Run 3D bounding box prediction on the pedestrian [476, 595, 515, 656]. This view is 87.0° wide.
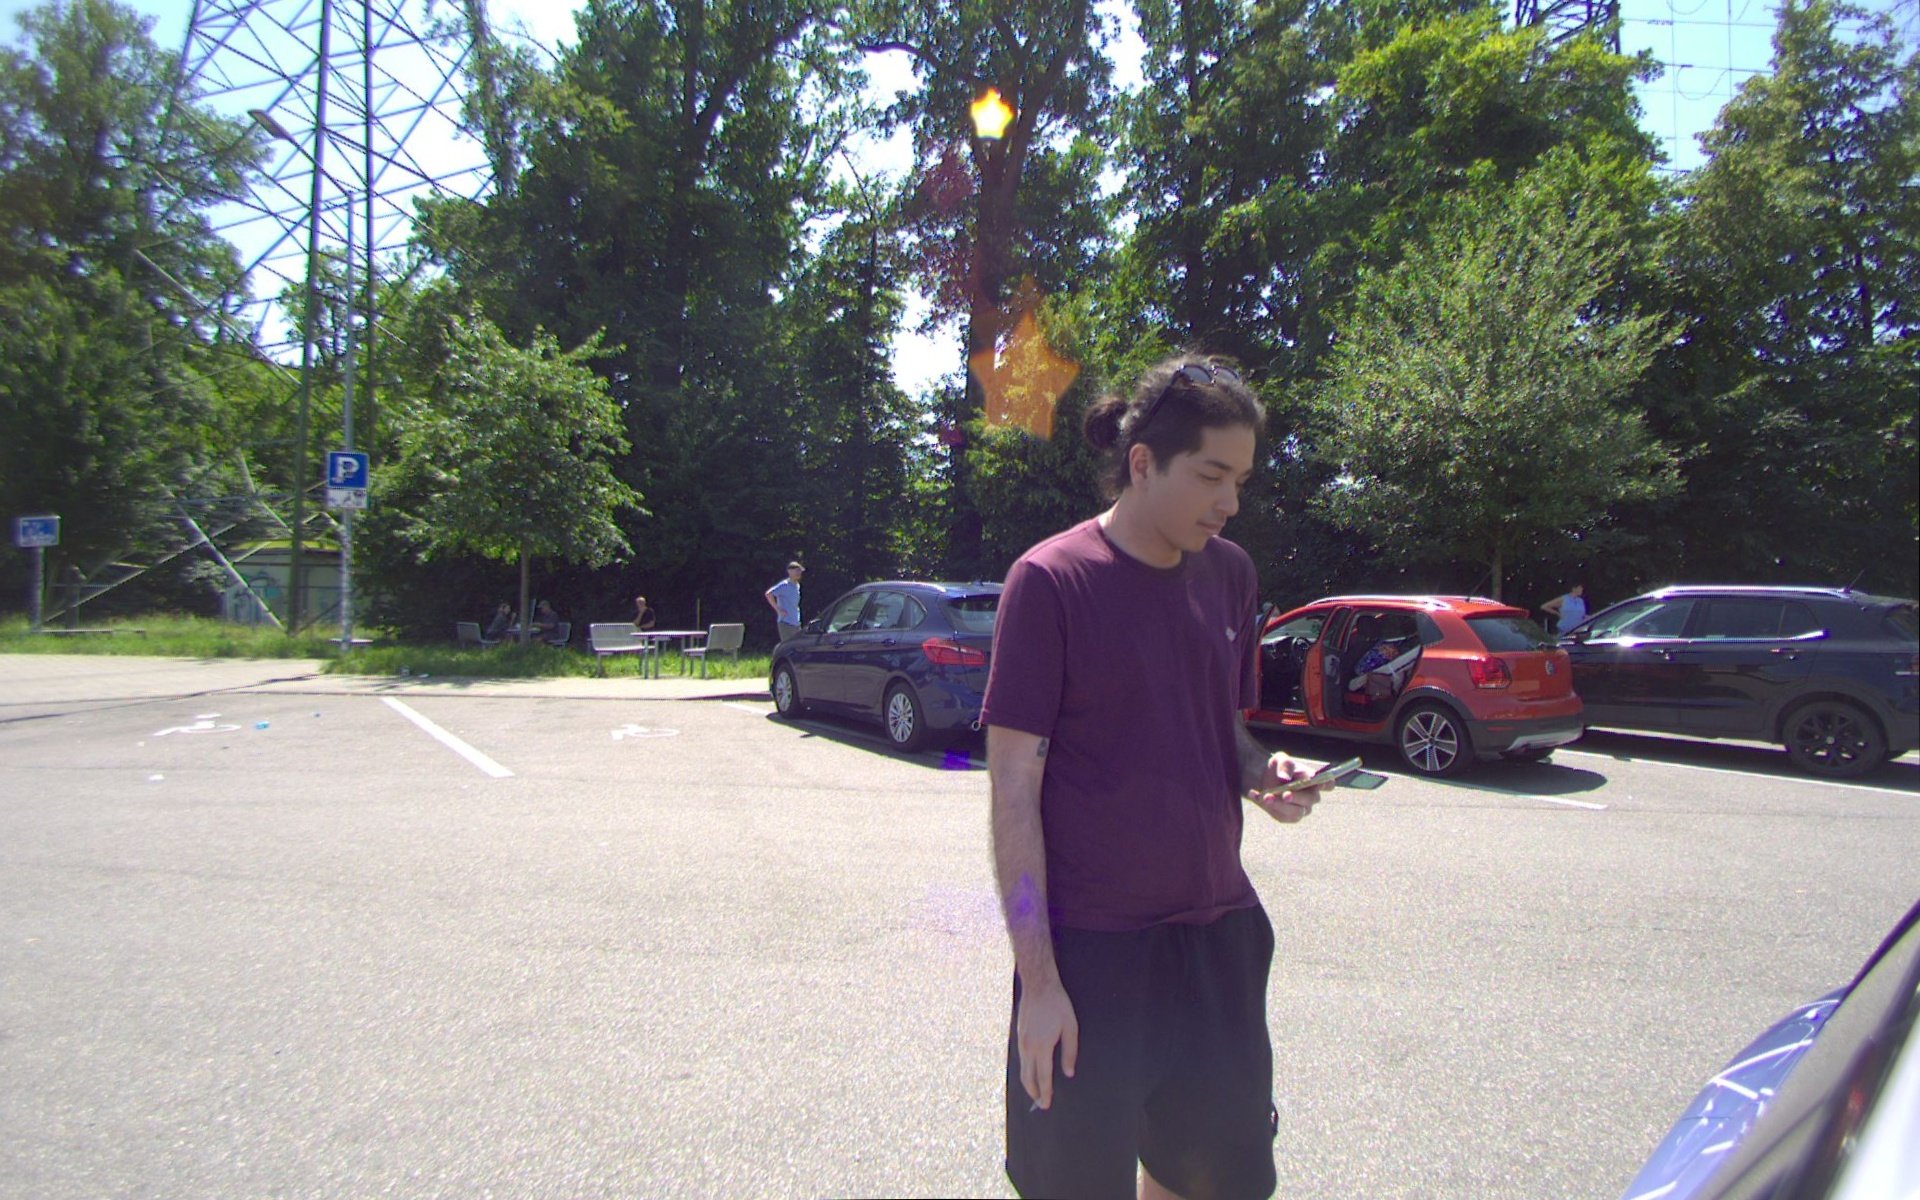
[{"bbox_3d":[-10.489,0.563,22.840,0.687,1.352,0.563,0,0,-40],"label":"pedestrian"}]

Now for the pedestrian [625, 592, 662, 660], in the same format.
[{"bbox_3d":[-6.660,0.528,21.317,0.553,1.408,0.700,0,0,2],"label":"pedestrian"}]

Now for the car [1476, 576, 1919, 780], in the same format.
[{"bbox_3d":[7.248,0.599,9.708,1.707,1.607,3.732,1,0,-39],"label":"car"}]

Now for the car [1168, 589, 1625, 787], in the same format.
[{"bbox_3d":[3.883,0.649,9.593,1.559,1.467,3.737,1,0,-33],"label":"car"}]

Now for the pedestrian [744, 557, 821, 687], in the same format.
[{"bbox_3d":[-2.484,0.300,14.210,0.673,1.754,0.821,0,0,41],"label":"pedestrian"}]

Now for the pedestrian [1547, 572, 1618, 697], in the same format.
[{"bbox_3d":[9.405,0.513,15.306,0.753,1.854,0.519,0,0,11],"label":"pedestrian"}]

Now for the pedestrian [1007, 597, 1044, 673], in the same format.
[{"bbox_3d":[1.097,0.591,17.081,0.576,1.251,0.697,0,-1,1],"label":"pedestrian"}]

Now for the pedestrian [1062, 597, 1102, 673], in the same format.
[{"bbox_3d":[2.045,0.586,17.015,0.576,1.251,0.697,0,-1,1],"label":"pedestrian"}]

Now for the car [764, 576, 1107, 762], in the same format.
[{"bbox_3d":[-0.455,0.562,10.666,1.776,1.562,3.940,1,0,-34],"label":"car"}]

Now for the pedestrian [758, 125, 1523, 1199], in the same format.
[{"bbox_3d":[0.263,0.447,1.617,0.846,1.857,0.863,0,0,-39],"label":"pedestrian"}]

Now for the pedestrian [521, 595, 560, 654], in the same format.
[{"bbox_3d":[-9.731,0.553,23.478,0.687,1.352,0.563,0,0,-40],"label":"pedestrian"}]
